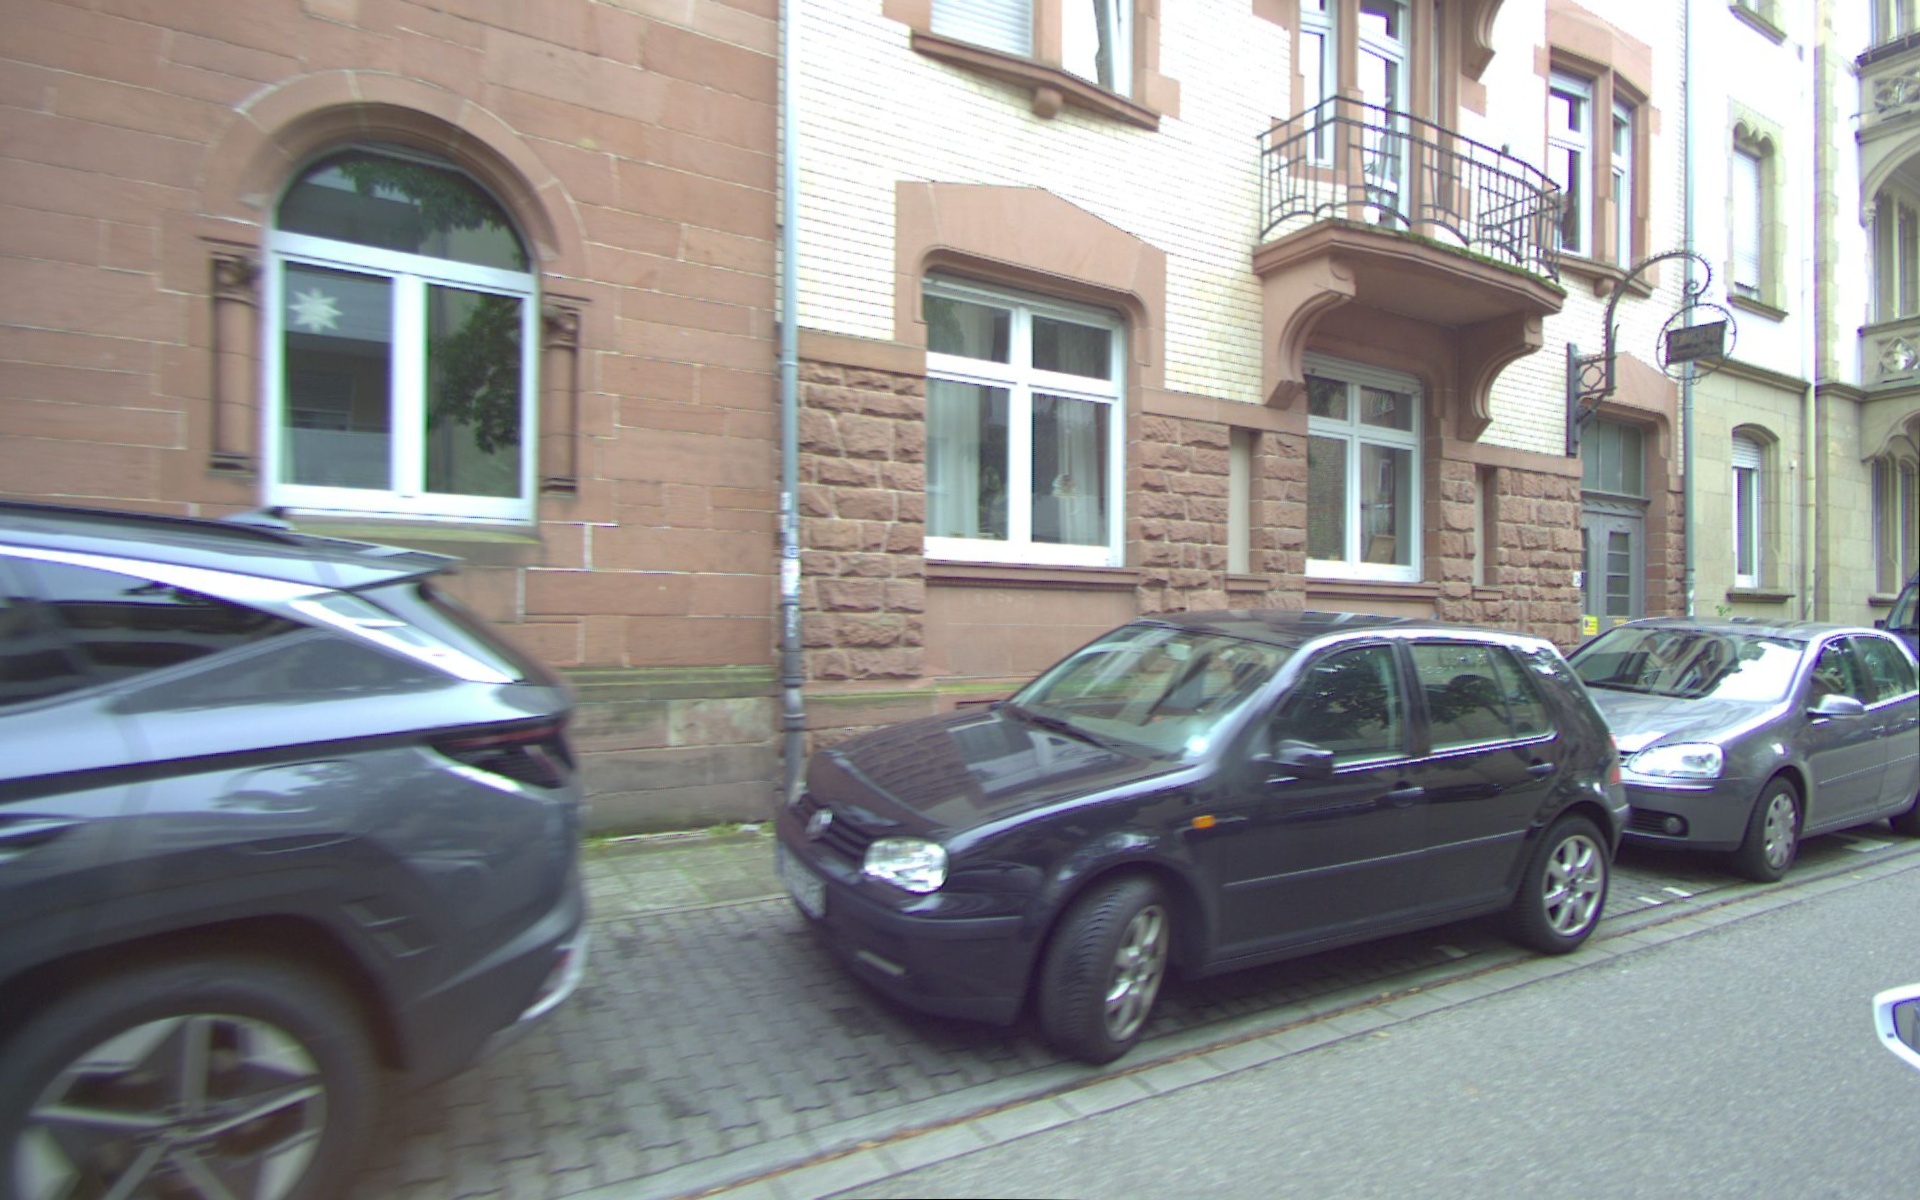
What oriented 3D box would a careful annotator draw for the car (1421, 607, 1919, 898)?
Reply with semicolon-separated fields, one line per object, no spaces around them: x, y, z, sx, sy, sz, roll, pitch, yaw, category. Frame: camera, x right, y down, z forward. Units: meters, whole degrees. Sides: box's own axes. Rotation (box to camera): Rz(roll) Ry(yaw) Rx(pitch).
5.185;0.840;6.945;3.953;1.492;1.660;1;0;-30;car

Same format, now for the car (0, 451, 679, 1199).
-3.008;0.536;2.196;4.310;1.669;1.777;1;0;-31;car

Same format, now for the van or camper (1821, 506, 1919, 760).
12.534;0.410;11.787;5.253;2.687;1.998;1;1;-30;van or camper

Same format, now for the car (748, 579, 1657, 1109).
1.231;0.757;4.542;3.953;1.492;1.627;3;-1;-30;car
